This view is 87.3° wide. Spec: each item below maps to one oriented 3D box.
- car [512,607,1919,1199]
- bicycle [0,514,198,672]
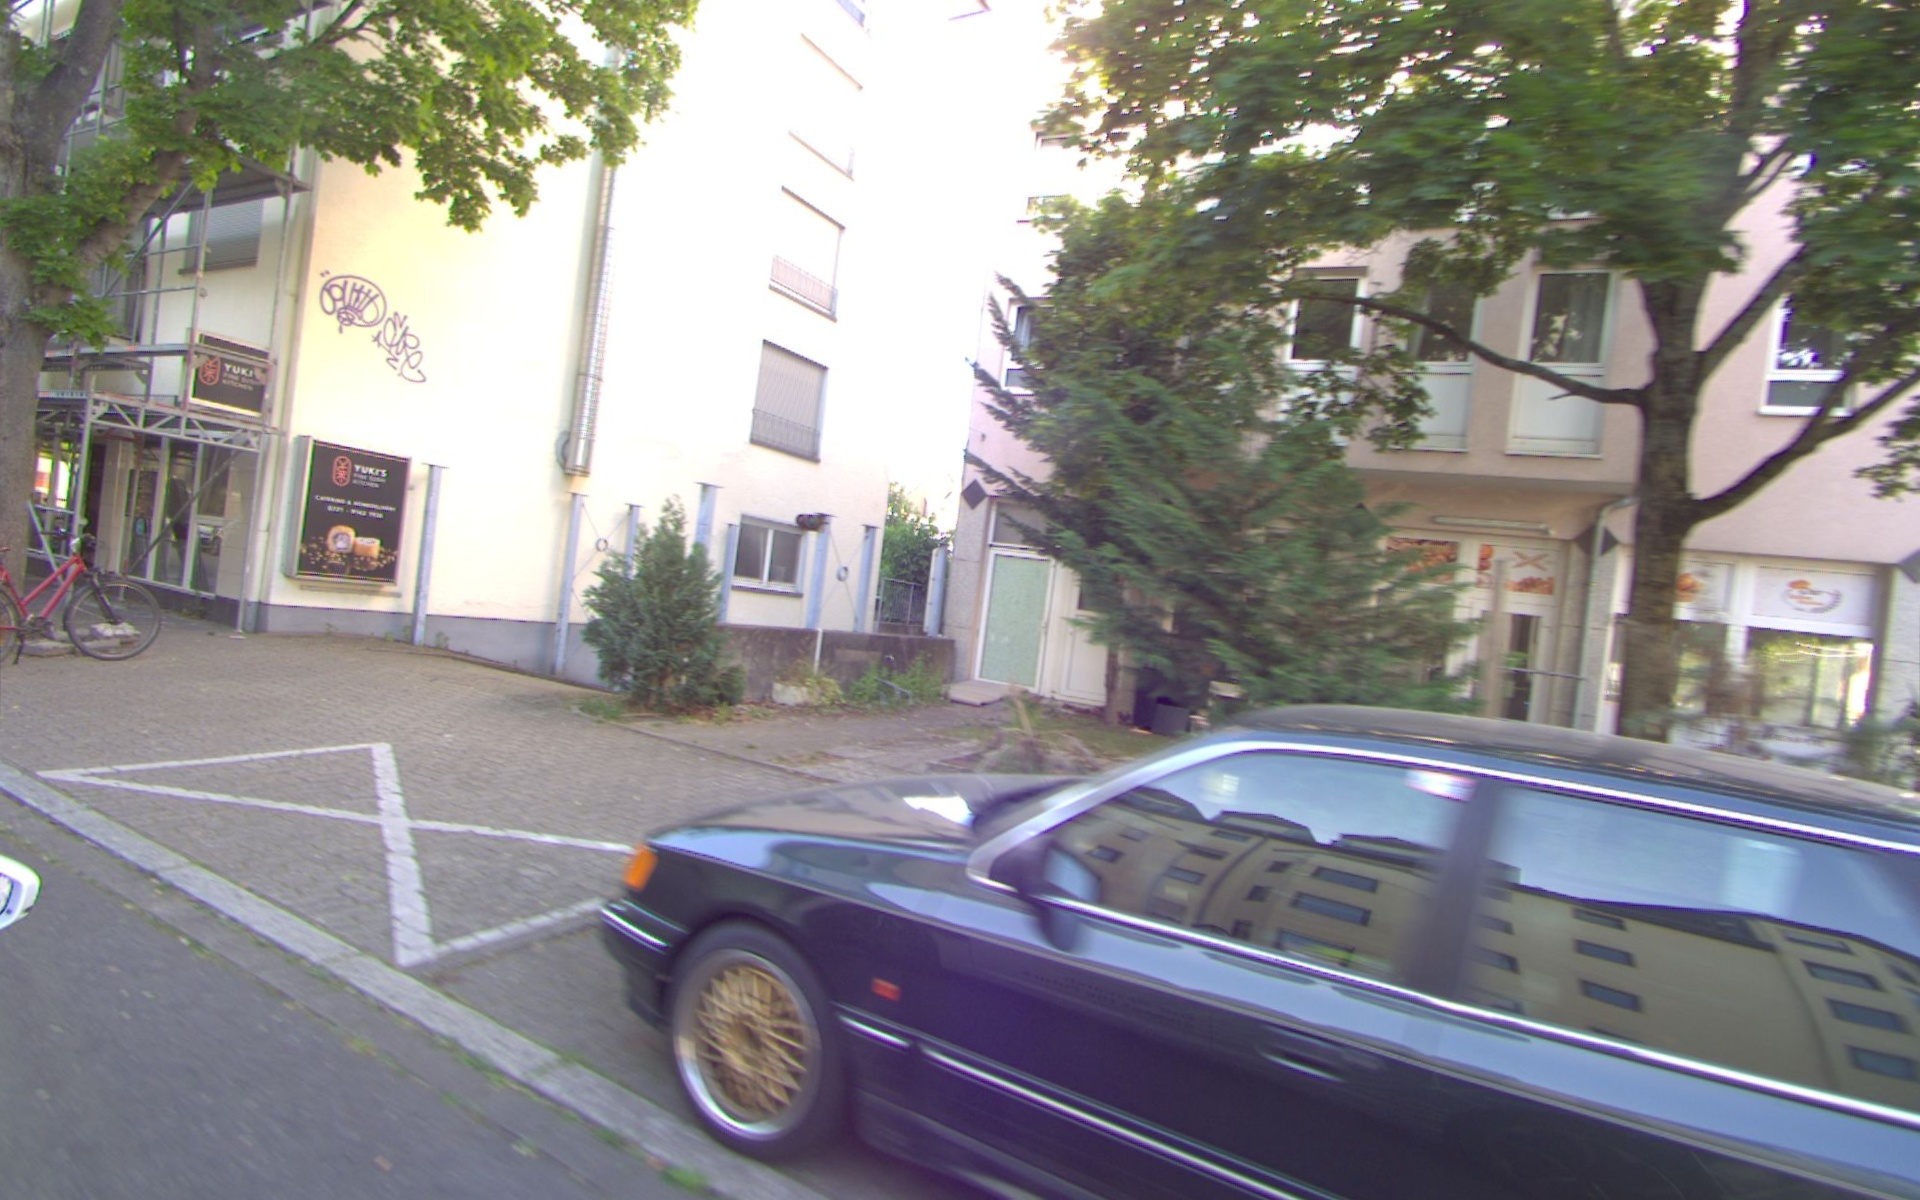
[{"bbox_3d":[1.072,1.009,2.610,4.493,1.405,1.711,7,0,31],"label":"car"},{"bbox_3d":[-7.593,-0.081,8.343,0.713,1.181,1.984,7,3,13],"label":"bicycle"}]
